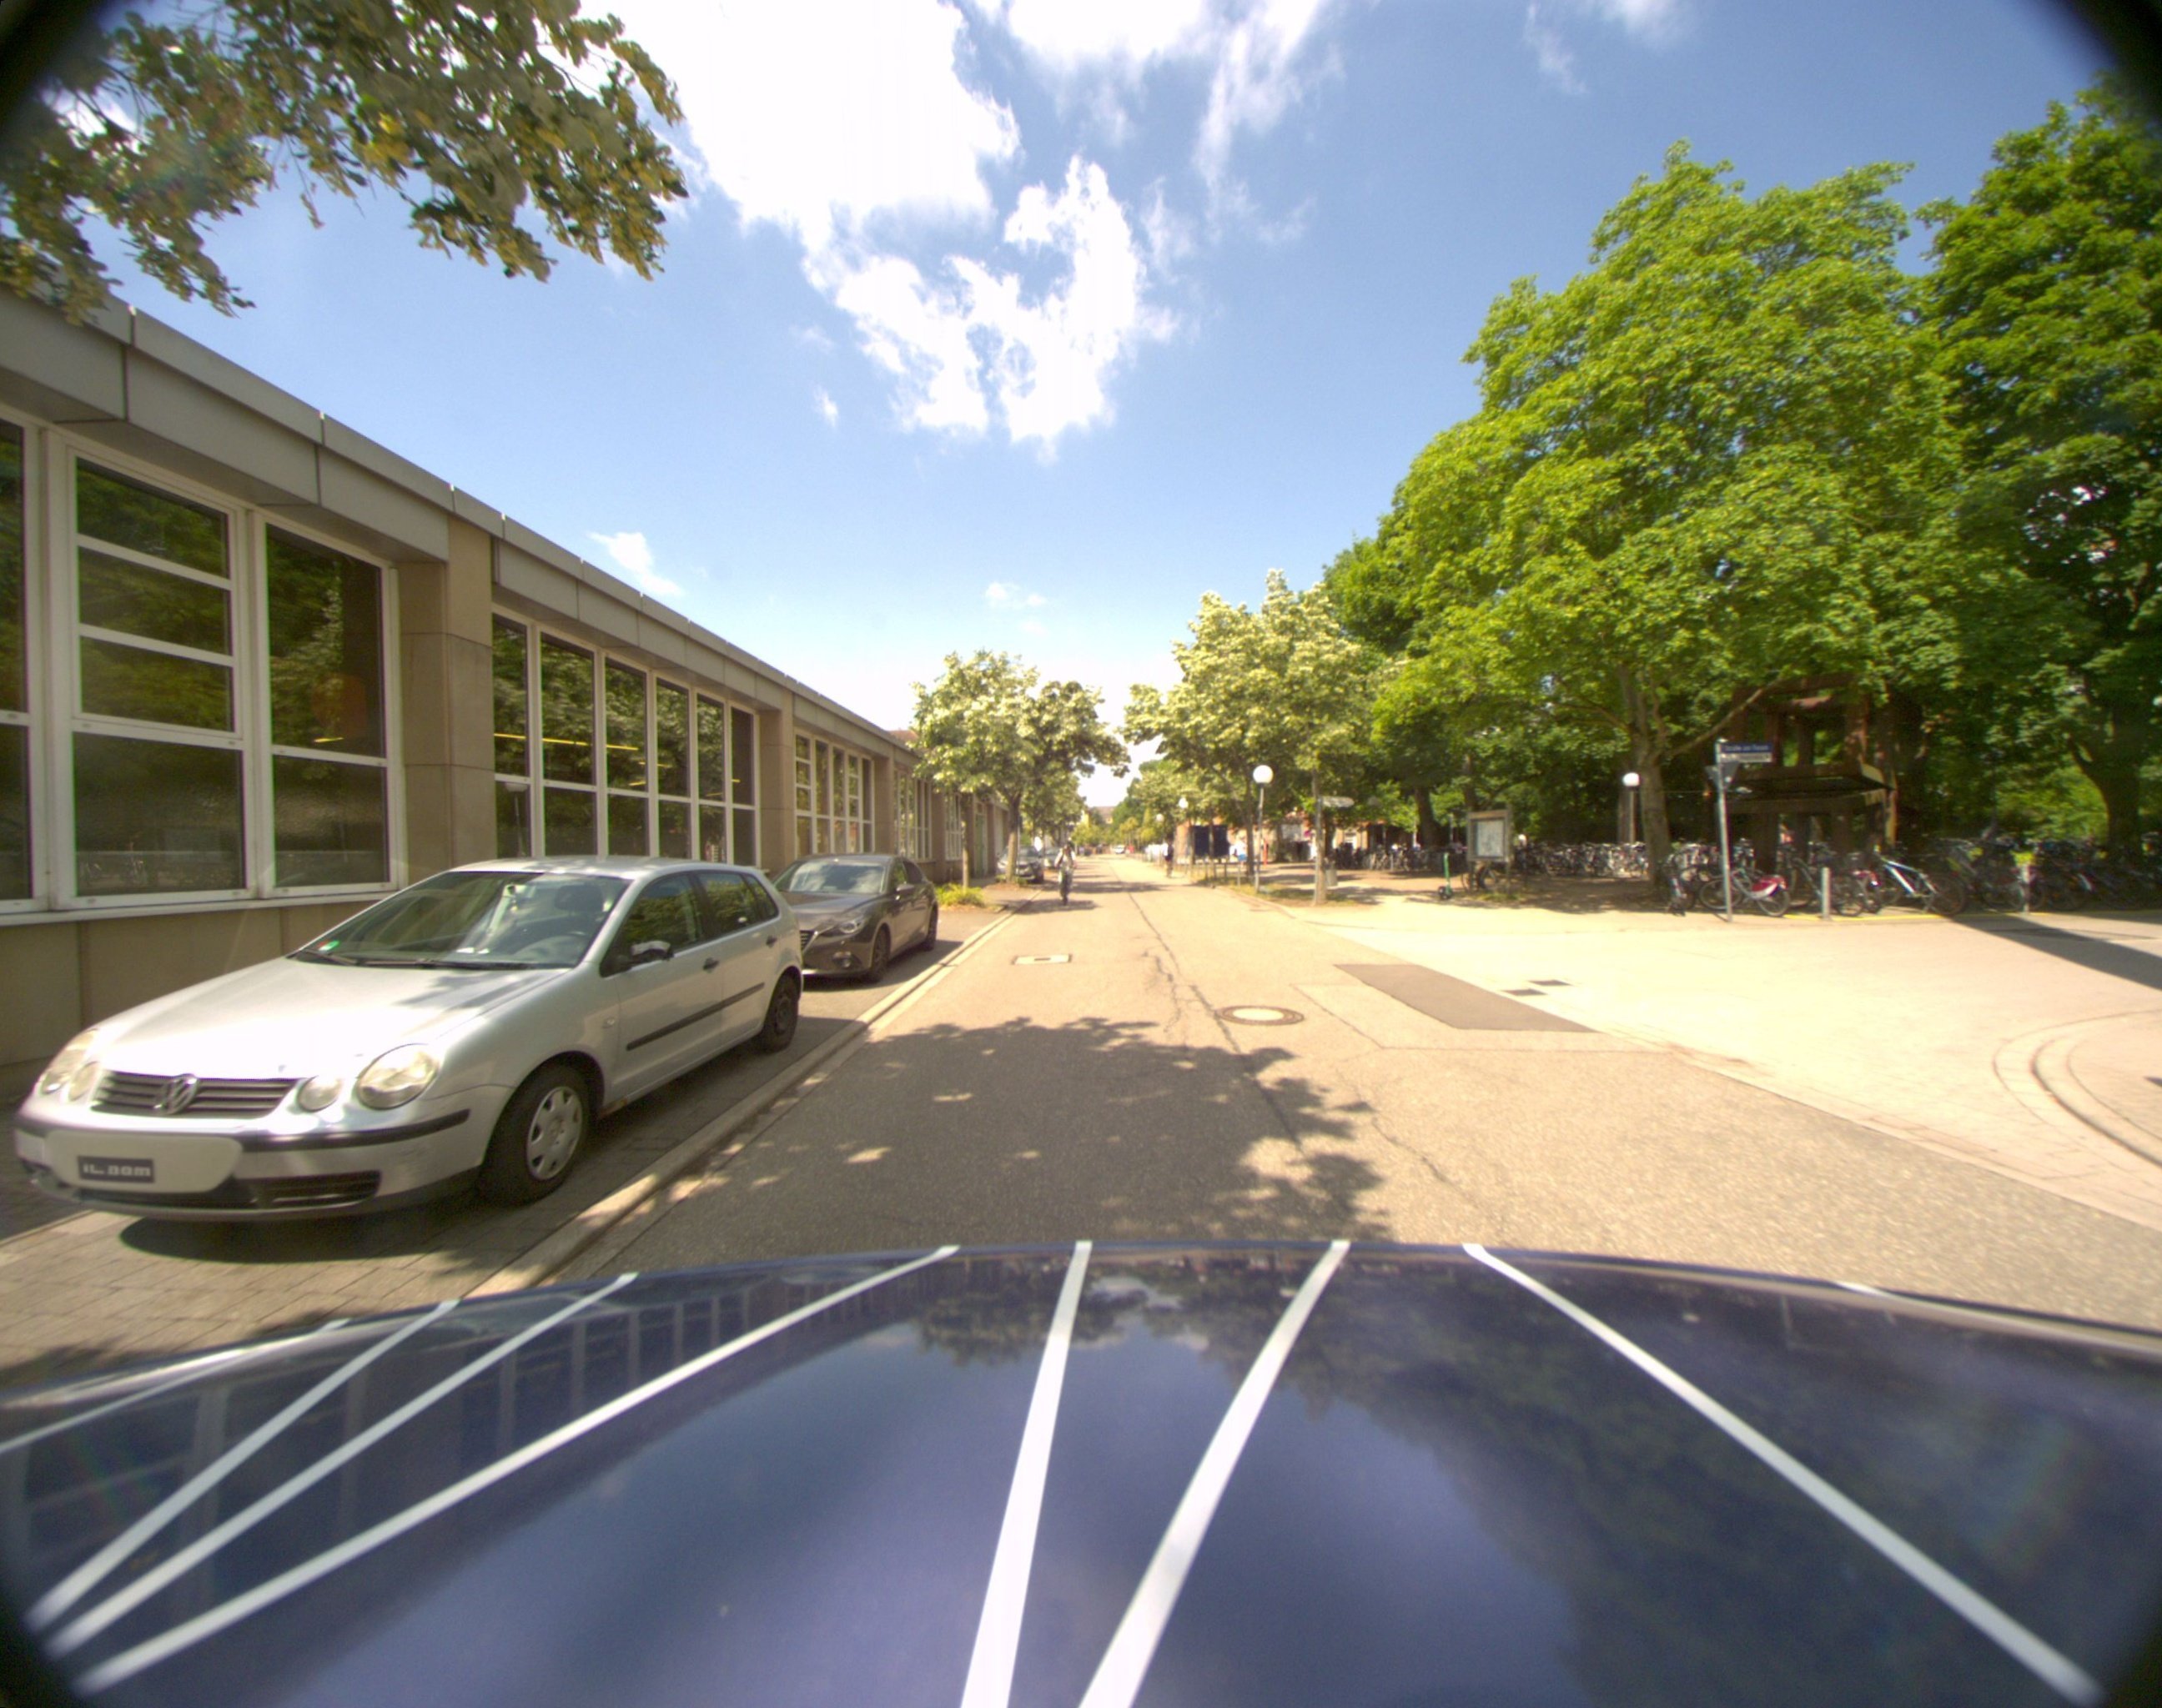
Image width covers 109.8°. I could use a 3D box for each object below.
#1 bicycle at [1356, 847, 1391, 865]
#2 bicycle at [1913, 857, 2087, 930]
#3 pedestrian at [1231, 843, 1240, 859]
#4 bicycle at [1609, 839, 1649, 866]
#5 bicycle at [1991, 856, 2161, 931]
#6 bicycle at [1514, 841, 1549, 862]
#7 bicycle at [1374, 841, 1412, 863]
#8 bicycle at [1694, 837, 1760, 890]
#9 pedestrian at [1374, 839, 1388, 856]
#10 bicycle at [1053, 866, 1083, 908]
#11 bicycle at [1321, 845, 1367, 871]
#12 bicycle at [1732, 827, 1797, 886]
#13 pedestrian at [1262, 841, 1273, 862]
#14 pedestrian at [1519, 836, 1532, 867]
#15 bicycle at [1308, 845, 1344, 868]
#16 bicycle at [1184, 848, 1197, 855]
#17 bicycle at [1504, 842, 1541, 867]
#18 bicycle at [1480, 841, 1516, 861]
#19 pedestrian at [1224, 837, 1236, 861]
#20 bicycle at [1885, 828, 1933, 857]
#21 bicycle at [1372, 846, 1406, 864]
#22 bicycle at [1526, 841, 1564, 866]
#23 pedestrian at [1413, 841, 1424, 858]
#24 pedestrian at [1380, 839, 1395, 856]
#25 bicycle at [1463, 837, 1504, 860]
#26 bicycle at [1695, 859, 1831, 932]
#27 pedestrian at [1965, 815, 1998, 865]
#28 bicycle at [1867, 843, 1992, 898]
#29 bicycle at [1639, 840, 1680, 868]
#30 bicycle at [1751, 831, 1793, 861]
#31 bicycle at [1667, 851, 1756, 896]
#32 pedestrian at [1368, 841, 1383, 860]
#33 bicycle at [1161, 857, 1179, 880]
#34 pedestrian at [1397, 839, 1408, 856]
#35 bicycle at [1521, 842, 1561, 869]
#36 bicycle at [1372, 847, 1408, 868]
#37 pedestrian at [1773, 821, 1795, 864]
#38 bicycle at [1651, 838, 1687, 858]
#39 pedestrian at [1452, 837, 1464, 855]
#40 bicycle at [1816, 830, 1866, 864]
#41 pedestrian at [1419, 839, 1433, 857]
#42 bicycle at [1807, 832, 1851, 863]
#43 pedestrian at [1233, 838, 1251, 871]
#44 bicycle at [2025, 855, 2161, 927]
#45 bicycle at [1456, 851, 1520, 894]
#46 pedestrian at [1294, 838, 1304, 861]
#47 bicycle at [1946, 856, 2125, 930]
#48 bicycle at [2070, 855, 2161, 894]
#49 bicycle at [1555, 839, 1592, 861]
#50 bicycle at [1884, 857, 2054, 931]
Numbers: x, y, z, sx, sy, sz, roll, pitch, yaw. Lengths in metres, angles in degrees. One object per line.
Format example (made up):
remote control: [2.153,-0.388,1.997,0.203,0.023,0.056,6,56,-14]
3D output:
bicycle: [17.103,0.119,44.415,1.806,1.008,0.537,-2,1,4]
bicycle: [15.309,0.618,12.751,0.553,1.080,1.973,-3,1,2]
pedestrian: [14.759,-0.272,72.579,0.744,1.501,0.499,-2,1,2]
bicycle: [23.433,-0.062,32.496,1.970,1.083,0.546,-2,1,-27]
bicycle: [16.570,0.607,12.618,0.553,1.080,1.973,-3,1,2]
bicycle: [25.175,-0.127,42.462,1.960,1.085,0.596,-2,2,-21]
bicycle: [17.421,-0.120,42.434,1.967,1.119,0.537,-2,1,-9]
bicycle: [15.683,0.217,18.434,2.024,1.246,0.586,-1,1,-31]
pedestrian: [22.118,-0.455,56.006,0.596,1.226,0.741,-2,-1,-33]
bicycle: [-0.344,0.897,21.471,0.675,1.066,2.136,-1,1,3]
bicycle: [13.140,0.196,37.970,2.061,1.227,0.808,-2,1,-16]
bicycle: [17.627,0.042,19.587,2.294,1.441,0.605,-2,1,-31]
pedestrian: [14.874,-0.233,60.595,0.632,1.656,0.643,-2,1,2]
pedestrian: [23.262,-0.155,39.770,0.462,1.605,0.350,-3,1,-21]
bicycle: [12.740,0.125,39.507,1.780,1.125,0.458,-2,1,-16]
bicycle: [17.609,-0.364,122.405,1.955,1.024,0.542,-1,1,0]
bicycle: [21.140,0.018,36.354,1.970,1.083,0.546,-2,1,-27]
bicycle: [24.372,-0.163,44.409,1.958,1.085,0.596,-2,2,-12]
pedestrian: [12.437,-0.409,63.502,0.919,1.943,0.892,-3,2,11]
bicycle: [31.202,-0.422,28.625,2.064,1.029,0.505,-2,1,-22]
bicycle: [18.247,0.077,45.020,1.806,1.008,0.537,-2,1,4]
bicycle: [21.586,-0.011,35.304,1.970,1.083,0.546,-2,1,-27]
pedestrian: [25.710,-0.358,57.873,0.646,1.315,0.559,-1,1,3]
pedestrian: [22.702,-0.477,56.299,0.596,1.226,0.741,-2,-1,-33]
bicycle: [20.374,-0.264,38.444,1.968,1.083,0.546,-2,1,-15]
bicycle: [11.523,0.659,12.937,0.553,1.080,1.973,-3,1,2]
pedestrian: [30.206,-0.472,25.492,0.578,1.661,0.629,-3,1,-34]
bicycle: [16.971,0.307,15.265,0.476,1.026,1.850,-1,1,2]
bicycle: [23.970,-0.002,31.461,1.970,1.083,0.546,-2,1,-27]
bicycle: [29.772,-0.350,32.730,1.798,1.200,0.423,-2,1,-15]
bicycle: [14.315,0.415,17.311,0.477,0.959,1.655,-2,1,-9]
pedestrian: [22.046,-0.248,56.862,0.596,1.361,0.741,-2,0,-33]
bicycle: [4.426,0.707,37.841,0.687,1.123,1.888,-1,1,0]
pedestrian: [24.526,-0.475,57.926,0.561,1.264,0.693,-2,1,2]
bicycle: [20.255,0.064,33.471,1.970,1.083,0.546,-2,1,-27]
bicycle: [16.611,0.182,40.817,1.862,1.083,0.546,-2,1,-19]
pedestrian: [28.432,-0.466,30.732,0.413,1.704,0.543,-3,2,-29]
bicycle: [28.138,-0.280,36.369,1.769,0.889,0.418,-2,1,-18]
pedestrian: [26.048,-0.541,52.519,0.392,1.187,0.730,-2,1,-8]
bicycle: [26.801,-0.264,26.781,2.309,1.102,0.733,-3,1,-31]
pedestrian: [24.858,-0.445,54.802,0.570,1.243,0.766,-2,1,-10]
bicycle: [30.436,-0.269,30.917,1.798,1.200,0.423,-2,1,-15]
pedestrian: [9.167,0.012,43.193,0.801,1.820,0.987,-2,1,2]
bicycle: [17.421,0.587,12.818,0.553,1.080,1.973,-3,1,2]
bicycle: [10.277,0.438,19.245,0.383,1.020,1.813,-2,1,-11]
pedestrian: [17.330,-0.376,60.493,0.530,1.838,0.806,-2,1,2]
bicycle: [15.919,0.609,12.762,0.553,1.080,1.973,-3,1,2]
bicycle: [21.485,0.405,15.504,0.324,0.758,1.556,-3,1,-32]
bicycle: [25.603,-0.219,39.510,1.960,1.085,0.596,-2,2,-21]
bicycle: [14.740,0.628,12.700,0.553,1.080,1.973,-3,1,2]
